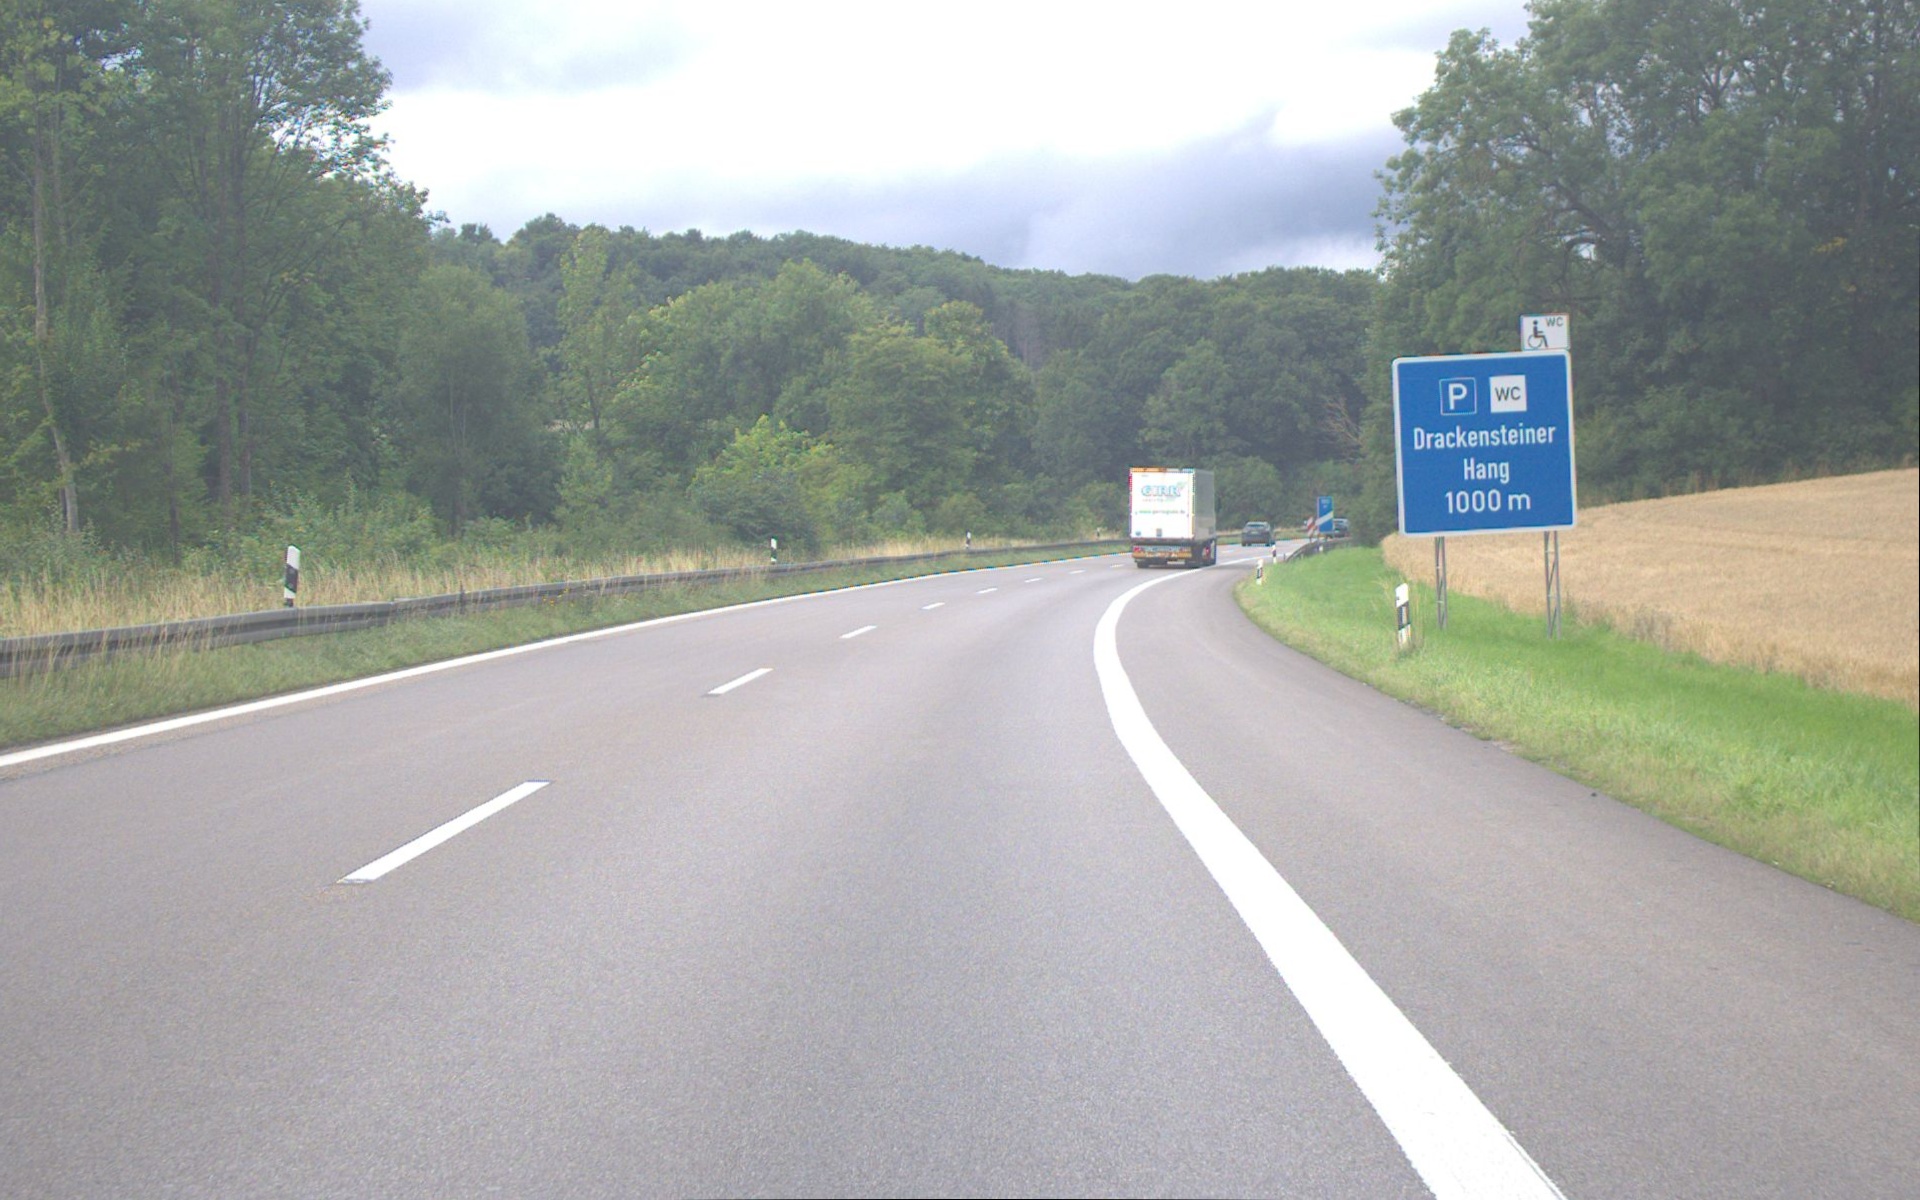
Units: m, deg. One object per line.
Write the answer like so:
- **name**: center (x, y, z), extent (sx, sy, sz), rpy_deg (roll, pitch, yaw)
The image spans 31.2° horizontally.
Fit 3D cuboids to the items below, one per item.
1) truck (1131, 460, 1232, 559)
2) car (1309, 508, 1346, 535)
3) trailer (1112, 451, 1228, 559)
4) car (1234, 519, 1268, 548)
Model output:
- **truck**: center (9.623, -3.851, 148.447), extent (3.789, 4.118, 8.262), rpy_deg (1, 0, 7)
- **car**: center (21.014, -4.480, 196.436), extent (1.994, 1.543, 3.999), rpy_deg (-1, 1, 8)
- **trailer**: center (8.730, -3.786, 141.121), extent (3.807, 4.160, 14.804), rpy_deg (1, 1, 7)
- **car**: center (18.950, -4.314, 223.841), extent (1.903, 1.789, 3.999), rpy_deg (1, 1, 9)
